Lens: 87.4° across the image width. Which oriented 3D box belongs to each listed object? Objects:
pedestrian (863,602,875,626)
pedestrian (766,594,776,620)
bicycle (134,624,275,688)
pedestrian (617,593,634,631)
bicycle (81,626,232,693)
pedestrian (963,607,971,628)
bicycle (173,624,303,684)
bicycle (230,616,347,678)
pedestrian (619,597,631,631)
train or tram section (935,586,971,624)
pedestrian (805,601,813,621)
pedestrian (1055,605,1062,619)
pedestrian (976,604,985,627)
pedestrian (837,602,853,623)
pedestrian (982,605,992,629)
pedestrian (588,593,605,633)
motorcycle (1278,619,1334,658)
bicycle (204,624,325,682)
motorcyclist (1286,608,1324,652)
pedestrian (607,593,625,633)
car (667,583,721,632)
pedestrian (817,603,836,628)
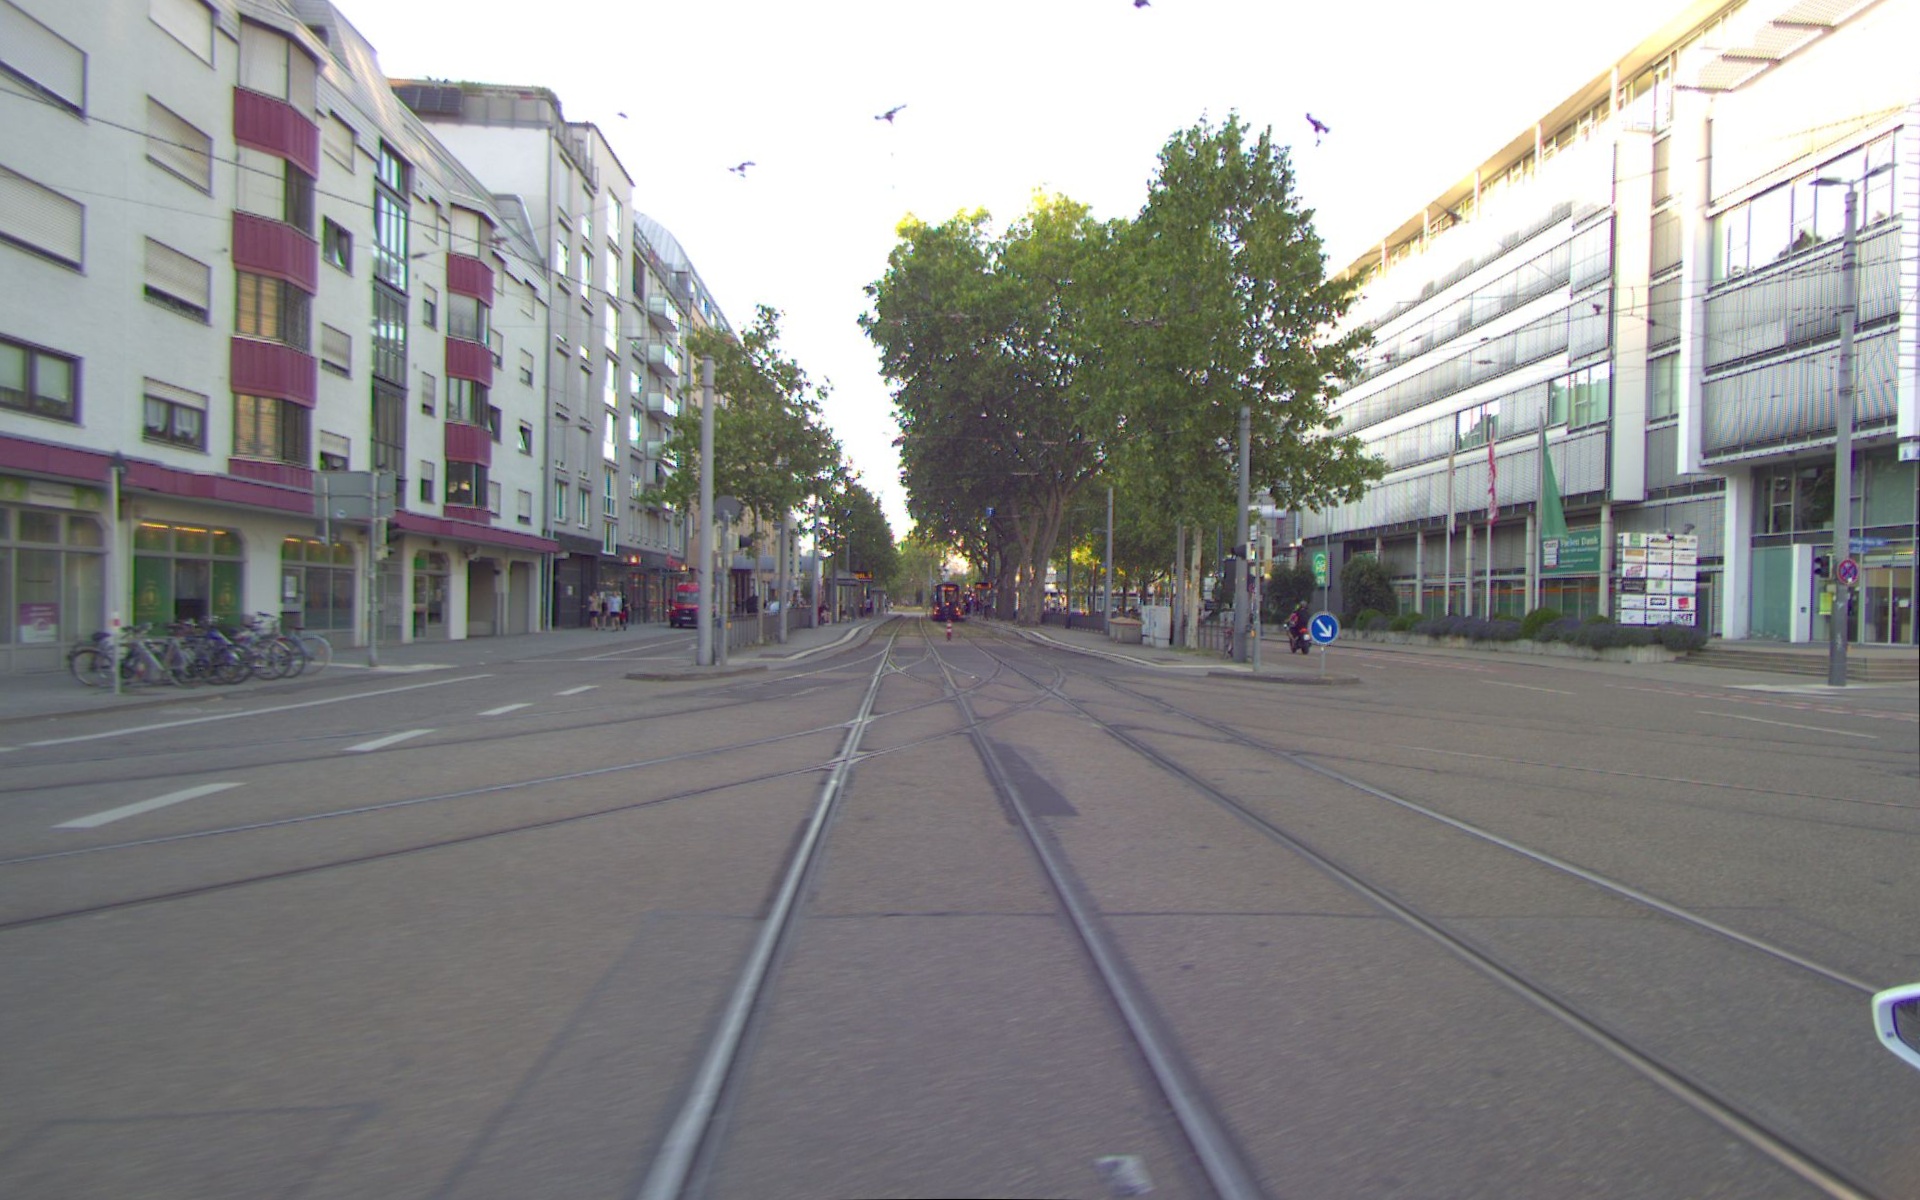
[{"bbox_3d":[-6.424,0.983,70.734,0.744,1.701,0.833,1,0,-2],"label":"pedestrian"},{"bbox_3d":[-13.587,0.495,72.291,0.642,1.799,0.547,1,0,-7],"label":"pedestrian"},{"bbox_3d":[-12.329,0.901,16.424,1.804,0.970,0.674,1,0,1],"label":"bicycle"},{"bbox_3d":[-15.860,0.575,47.647,0.642,1.799,0.547,1,0,-7],"label":"pedestrian"},{"bbox_3d":[-12.459,0.906,15.609,1.804,0.970,0.674,1,0,1],"label":"bicycle"},{"bbox_3d":[0.626,1.576,91.633,0.724,1.924,0.640,1,0,0],"label":"pedestrian"},{"bbox_3d":[-12.340,0.916,17.196,1.804,0.970,0.596,1,0,1],"label":"bicycle"},{"bbox_3d":[-12.298,0.849,18.418,1.804,1.075,0.499,1,0,1],"label":"bicycle"},{"bbox_3d":[-17.520,0.726,52.535,0.539,1.799,0.652,1,0,-15],"label":"pedestrian"},{"bbox_3d":[-0.795,0.496,94.142,2.995,3.212,13.487,1,0,-2],"label":"train or tram section"},{"bbox_3d":[-13.389,0.992,89.109,0.642,1.799,0.547,1,0,-7],"label":"pedestrian"},{"bbox_3d":[14.148,1.746,144.490,0.801,2.040,0.923,1,0,0],"label":"pedestrian"},{"bbox_3d":[1.756,1.327,84.613,0.724,1.924,0.640,1,0,0],"label":"pedestrian"},{"bbox_3d":[-7.233,0.792,63.336,0.764,1.310,0.733,1,0,16],"label":"pedestrian"},{"bbox_3d":[2.188,1.365,81.988,0.724,1.924,0.640,1,0,0],"label":"pedestrian"},{"bbox_3d":[-16.789,0.592,46.401,0.642,1.799,0.547,1,0,-7],"label":"pedestrian"},{"bbox_3d":[11.946,1.322,34.816,0.815,1.256,2.488,1,0,-7],"label":"motorcycle"},{"bbox_3d":[-12.326,0.925,17.827,1.804,0.970,0.499,1,0,1],"label":"bicycle"},{"bbox_3d":[11.944,1.018,34.810,0.815,1.493,1.205,1,0,-7],"label":"motorcyclist"},{"bbox_3d":[-15.790,0.604,46.144,0.642,1.799,0.547,1,0,-7],"label":"pedestrian"},{"bbox_3d":[-14.887,0.422,56.559,2.055,2.585,5.444,1,0,-6],"label":"car"},{"bbox_3d":[-6.958,0.805,52.313,0.764,1.310,0.733,1,0,16],"label":"pedestrian"}]
